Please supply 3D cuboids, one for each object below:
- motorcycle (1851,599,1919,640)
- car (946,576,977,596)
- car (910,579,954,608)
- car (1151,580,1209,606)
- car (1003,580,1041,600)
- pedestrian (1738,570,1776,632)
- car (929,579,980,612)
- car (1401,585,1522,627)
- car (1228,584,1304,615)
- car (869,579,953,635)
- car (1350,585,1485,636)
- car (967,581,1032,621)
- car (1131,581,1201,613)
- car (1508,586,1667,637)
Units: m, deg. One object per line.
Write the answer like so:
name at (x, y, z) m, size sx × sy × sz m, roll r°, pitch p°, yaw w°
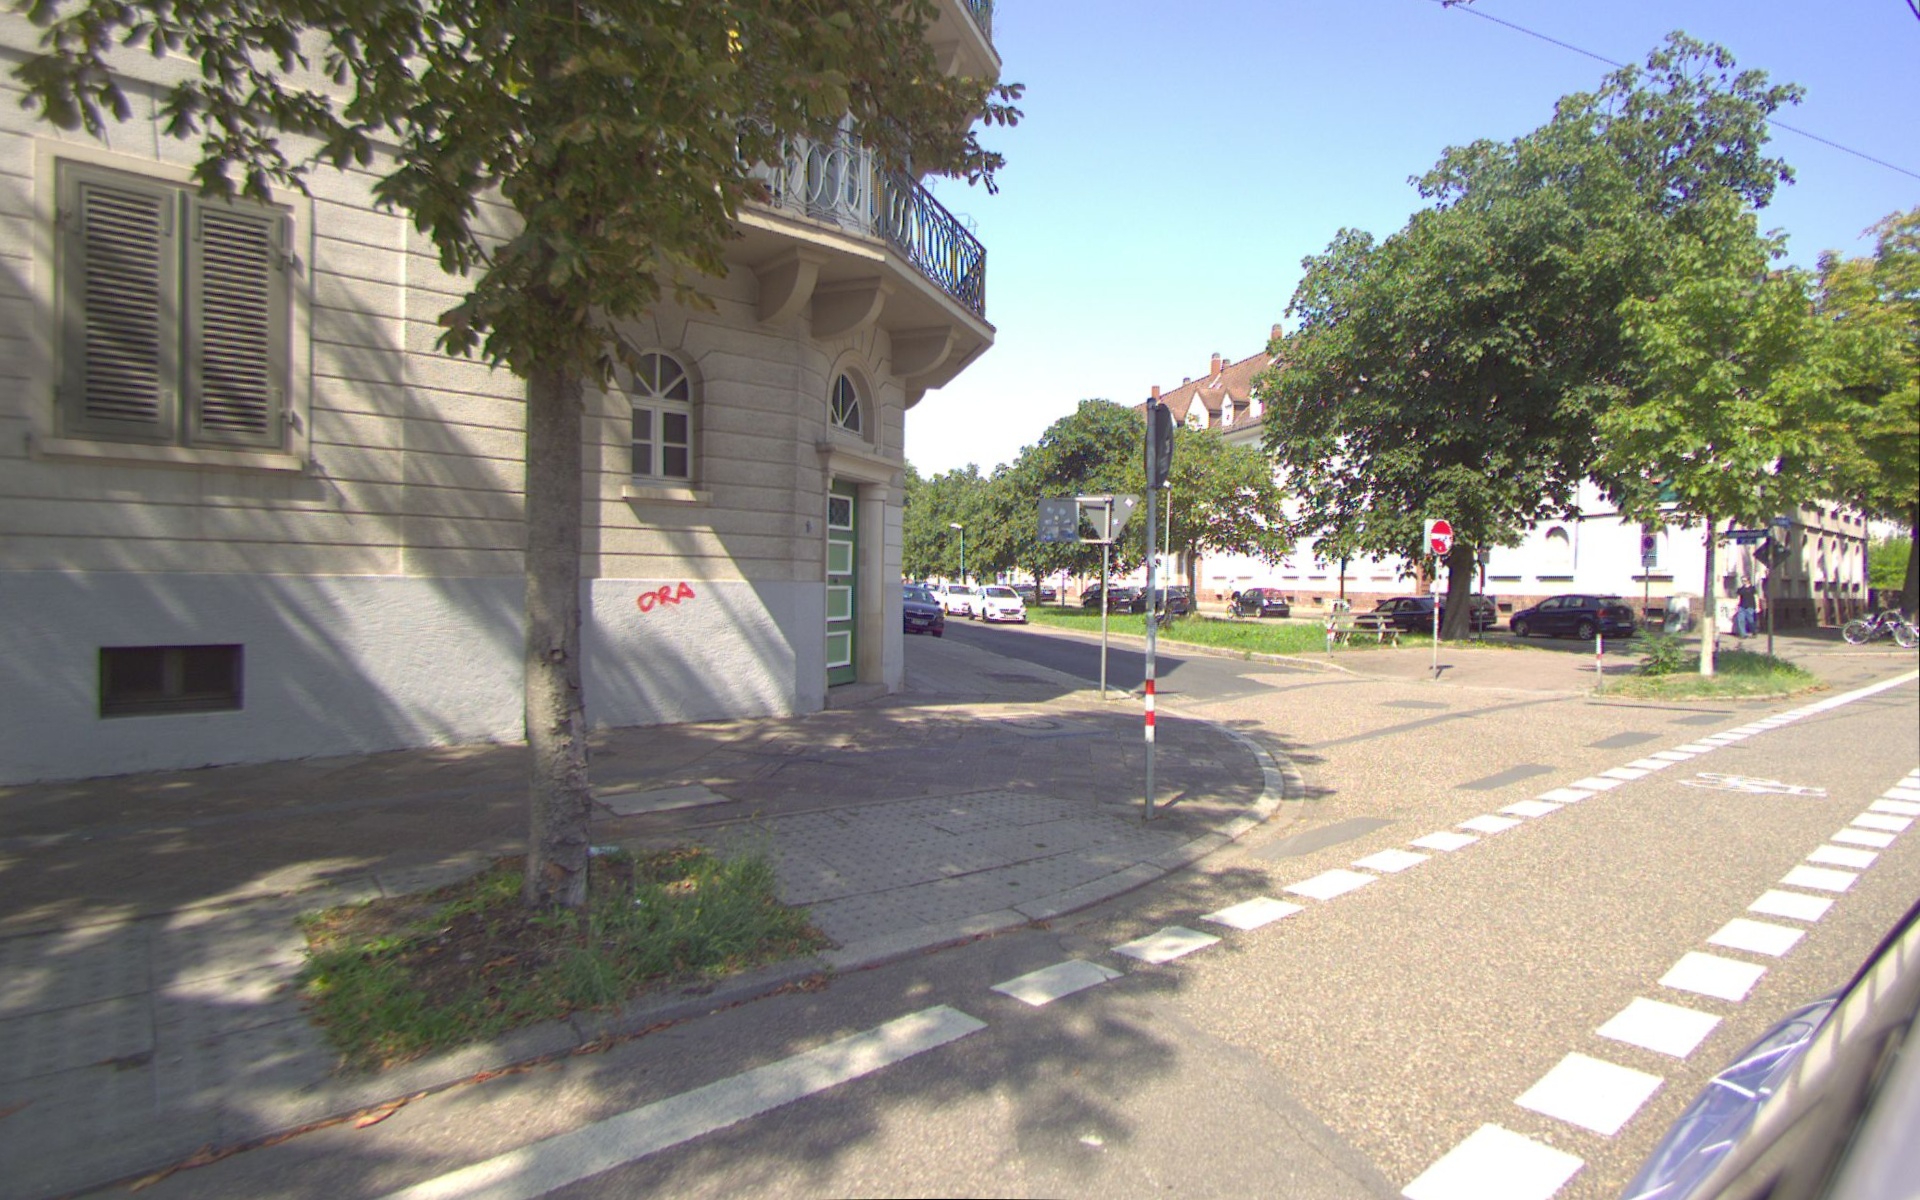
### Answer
motorcycle at (26.637, 0.554, 28.624) m, size 0.782 × 1.027 × 2.000 m, roll 0°, pitch 4°, yaw -40°
car at (0.110, -1.325, 91.974) m, size 2.001 × 1.758 × 4.008 m, roll 0°, pitch 1°, yaw -13°
car at (-1.535, -0.371, 54.028) m, size 1.565 × 1.497 × 4.008 m, roll 0°, pitch 1°, yaw -13°
car at (13.345, -0.450, 61.612) m, size 1.934 × 1.457 × 4.008 m, roll 0°, pitch 1°, yaw -13°
car at (4.573, -0.748, 75.108) m, size 1.799 × 1.448 × 4.008 m, roll 0°, pitch 1°, yaw -13°
pedestrian at (23.602, 0.028, 29.959) m, size 0.621 × 1.808 × 0.749 m, roll 0°, pitch 1°, yaw -39°
car at (-0.288, -0.233, 47.974) m, size 1.565 × 1.497 × 4.008 m, roll 0°, pitch 1°, yaw -13°
car at (18.664, 0.188, 37.898) m, size 1.934 × 1.457 × 4.008 m, roll 0°, pitch 1°, yaw -13°
car at (15.418, -0.063, 51.244) m, size 1.934 × 1.457 × 4.008 m, roll 0°, pitch 1°, yaw -13°
car at (-1.603, 0.163, 31.272) m, size 1.841 × 1.560 × 4.338 m, roll 0°, pitch 1°, yaw -13°
car at (14.337, 0.288, 31.983) m, size 1.799 × 1.448 × 4.008 m, roll 0°, pitch 1°, yaw -13°
car at (1.548, 0.001, 40.978) m, size 1.653 × 1.497 × 4.008 m, roll 0°, pitch 1°, yaw -13°
car at (10.201, -0.178, 50.506) m, size 1.799 × 1.448 × 4.287 m, roll 0°, pitch 1°, yaw -13°
car at (19.954, 0.328, 32.377) m, size 1.933 × 1.461 × 4.009 m, roll 0°, pitch 1°, yaw -17°
